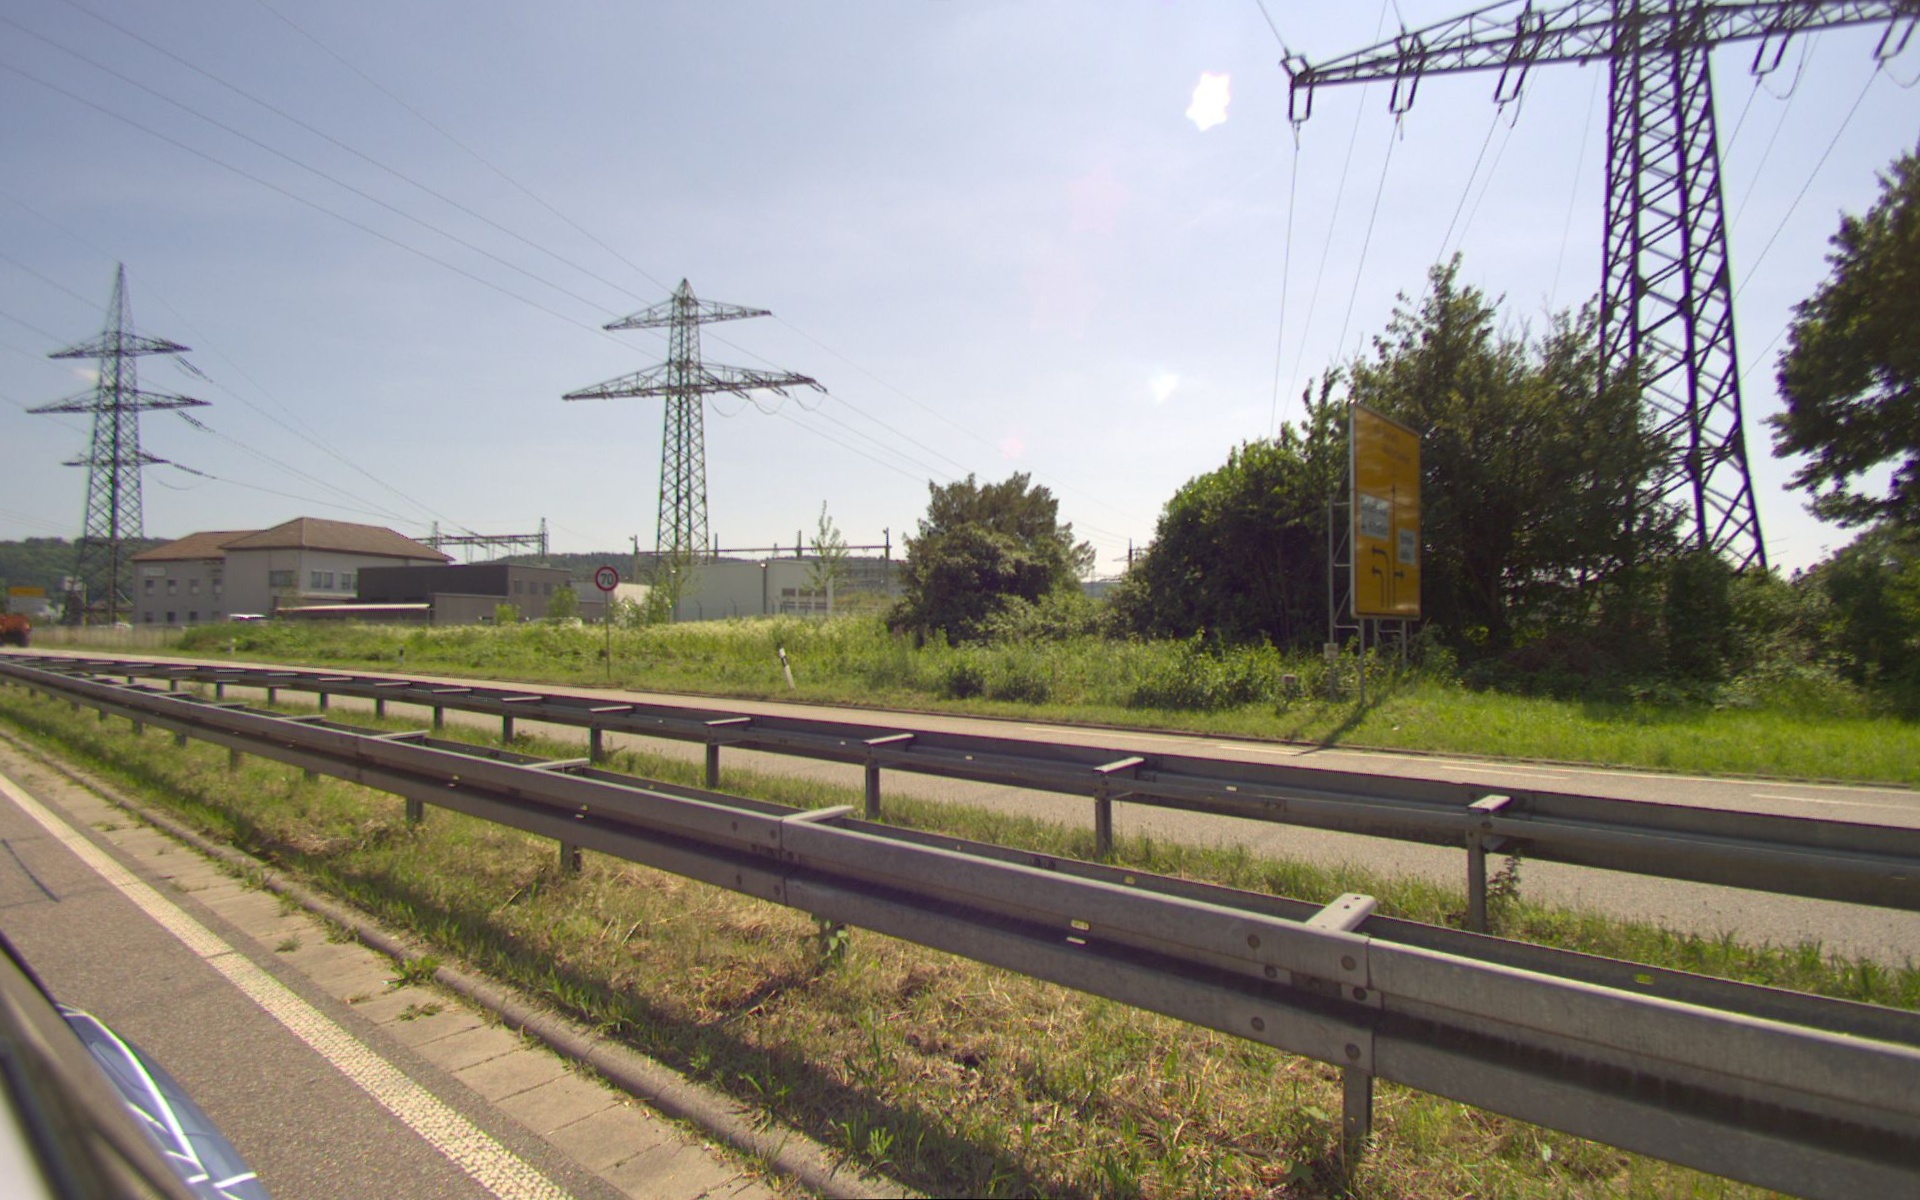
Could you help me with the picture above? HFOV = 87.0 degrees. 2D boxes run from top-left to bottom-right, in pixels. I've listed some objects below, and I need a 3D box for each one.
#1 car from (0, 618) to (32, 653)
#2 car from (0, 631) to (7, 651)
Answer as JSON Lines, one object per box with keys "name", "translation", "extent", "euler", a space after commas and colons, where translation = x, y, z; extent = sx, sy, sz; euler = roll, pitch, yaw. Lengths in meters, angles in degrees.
{"name": "car", "translation": [-87.838, 3.257, 93.279], "extent": [5.634, 3.084, 2.574], "euler": [-2, -3, 40]}
{"name": "car", "translation": [-95.395, 4.053, 99.450], "extent": [3.993, 1.929, 1.975], "euler": [0, 0, 37]}
